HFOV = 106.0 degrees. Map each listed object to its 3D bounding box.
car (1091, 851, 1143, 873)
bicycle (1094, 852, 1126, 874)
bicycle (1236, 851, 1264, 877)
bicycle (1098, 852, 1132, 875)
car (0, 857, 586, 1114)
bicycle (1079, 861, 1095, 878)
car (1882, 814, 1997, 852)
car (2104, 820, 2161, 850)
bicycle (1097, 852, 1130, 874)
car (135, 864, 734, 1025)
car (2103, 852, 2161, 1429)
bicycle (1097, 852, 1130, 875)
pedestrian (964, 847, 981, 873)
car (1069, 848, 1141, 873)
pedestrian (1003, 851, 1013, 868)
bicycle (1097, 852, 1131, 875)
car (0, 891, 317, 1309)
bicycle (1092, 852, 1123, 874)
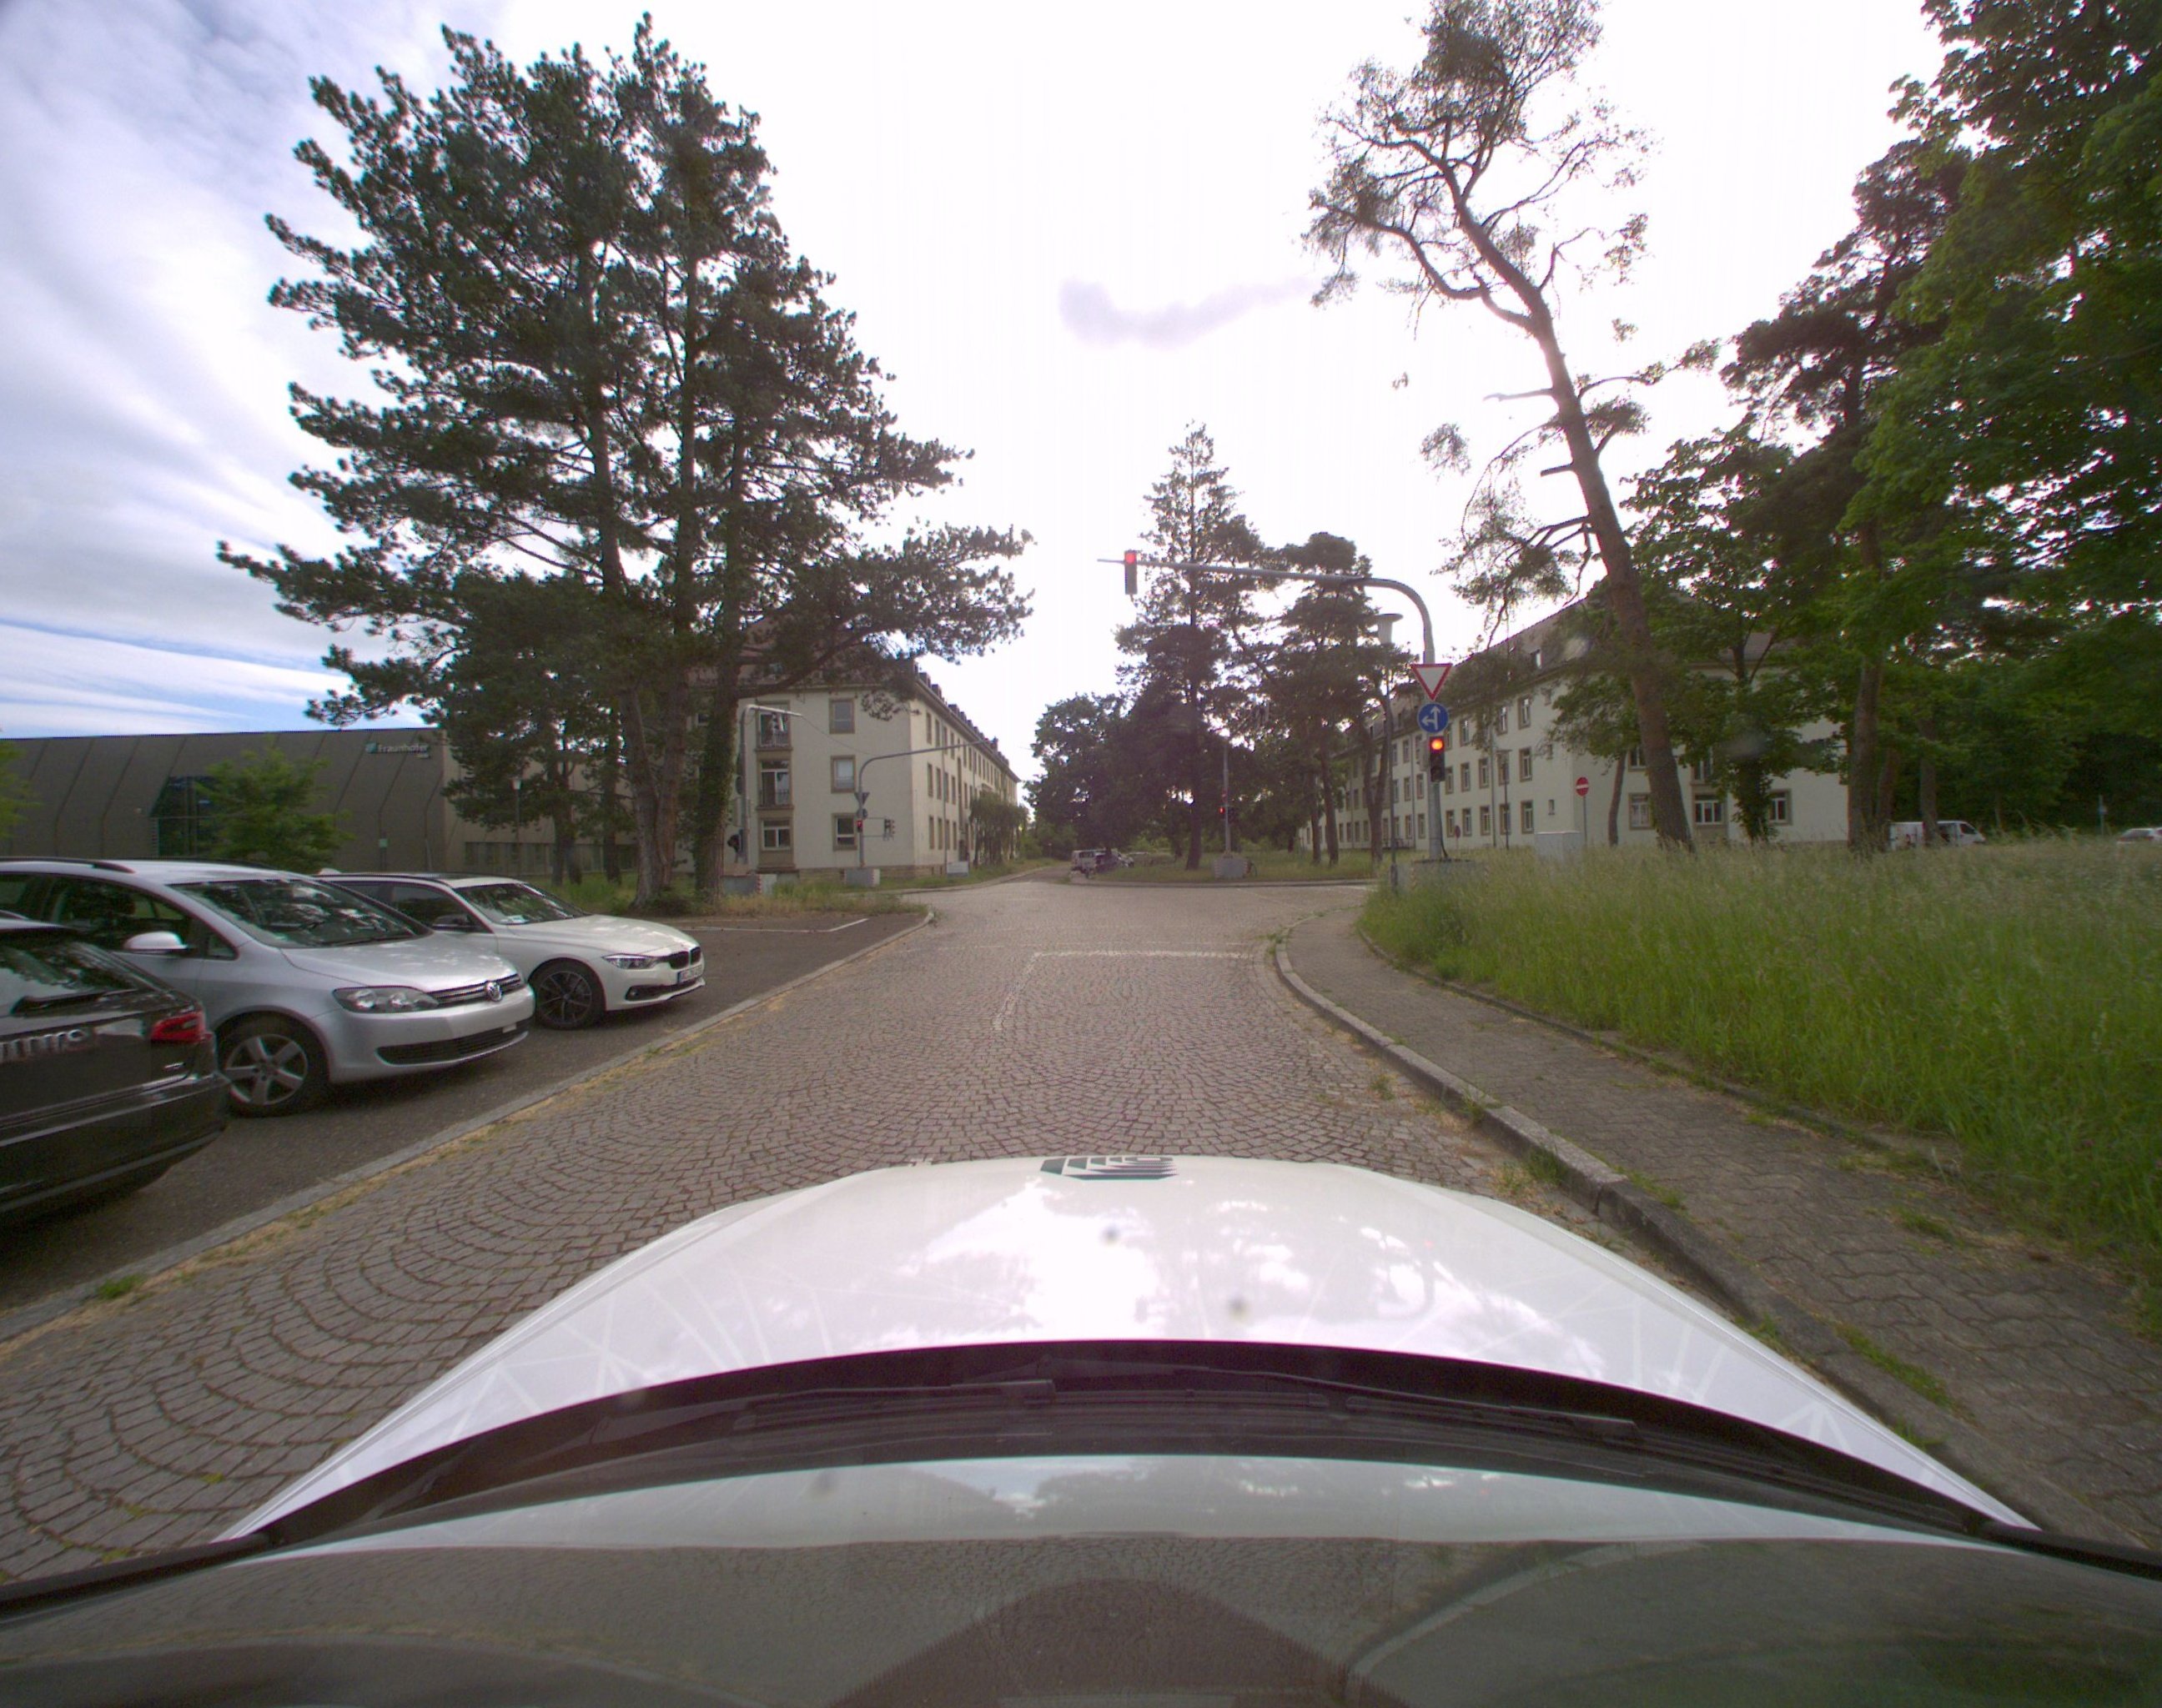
[{"bbox_3d":[2.821,0.628,64.998,3.924,1.544,1.997,-2,0,-4],"label":"car"},{"bbox_3d":[1.879,0.589,53.377,2.062,1.378,0.620,-2,0,1],"label":"bicycle"},{"bbox_3d":[7.884,0.464,38.132,0.905,1.177,1.874,-2,0,0],"label":"bicycle"},{"bbox_3d":[2.082,0.573,50.482,2.062,1.378,0.620,-2,0,1],"label":"bicycle"},{"bbox_3d":[-6.135,0.824,5.878,3.978,1.547,1.722,1,0,-4],"label":"car"},{"bbox_3d":[0.362,0.896,48.706,0.614,0.963,2.081,-2,0,8],"label":"bicycle"},{"bbox_3d":[57.071,-1.389,54.230,5.160,2.288,2.214,-2,0,2],"label":"car"},{"bbox_3d":[57.593,-1.037,43.429,3.468,1.507,2.001,-2,0,2],"label":"car"},{"bbox_3d":[2.088,0.586,52.575,2.062,1.378,0.620,-2,0,1],"label":"bicycle"},{"bbox_3d":[-6.326,0.864,8.453,4.636,1.443,1.800,1,0,-3],"label":"car"},{"bbox_3d":[4.510,0.629,1.288,3.751,1.426,1.606,-3,0,0],"label":"car"},{"bbox_3d":[2.063,0.581,51.778,2.062,1.378,0.620,-2,0,1],"label":"bicycle"},{"bbox_3d":[-8.804,0.494,66.129,1.081,2.013,1.023,-2,0,6],"label":"pedestrian"},{"bbox_3d":[1.998,0.506,68.380,5.695,1.910,2.221,-2,0,-11],"label":"car"},{"bbox_3d":[-8.761,0.675,97.995,0.952,2.013,0.797,-2,0,11],"label":"pedestrian"},{"bbox_3d":[2.053,0.577,51.153,2.062,1.378,0.620,-2,0,1],"label":"bicycle"},{"bbox_3d":[-5.855,0.895,3.204,3.974,1.427,1.750,1,0,0],"label":"car"},{"bbox_3d":[1.773,0.600,54.864,2.062,1.378,0.620,-2,0,1],"label":"bicycle"}]
